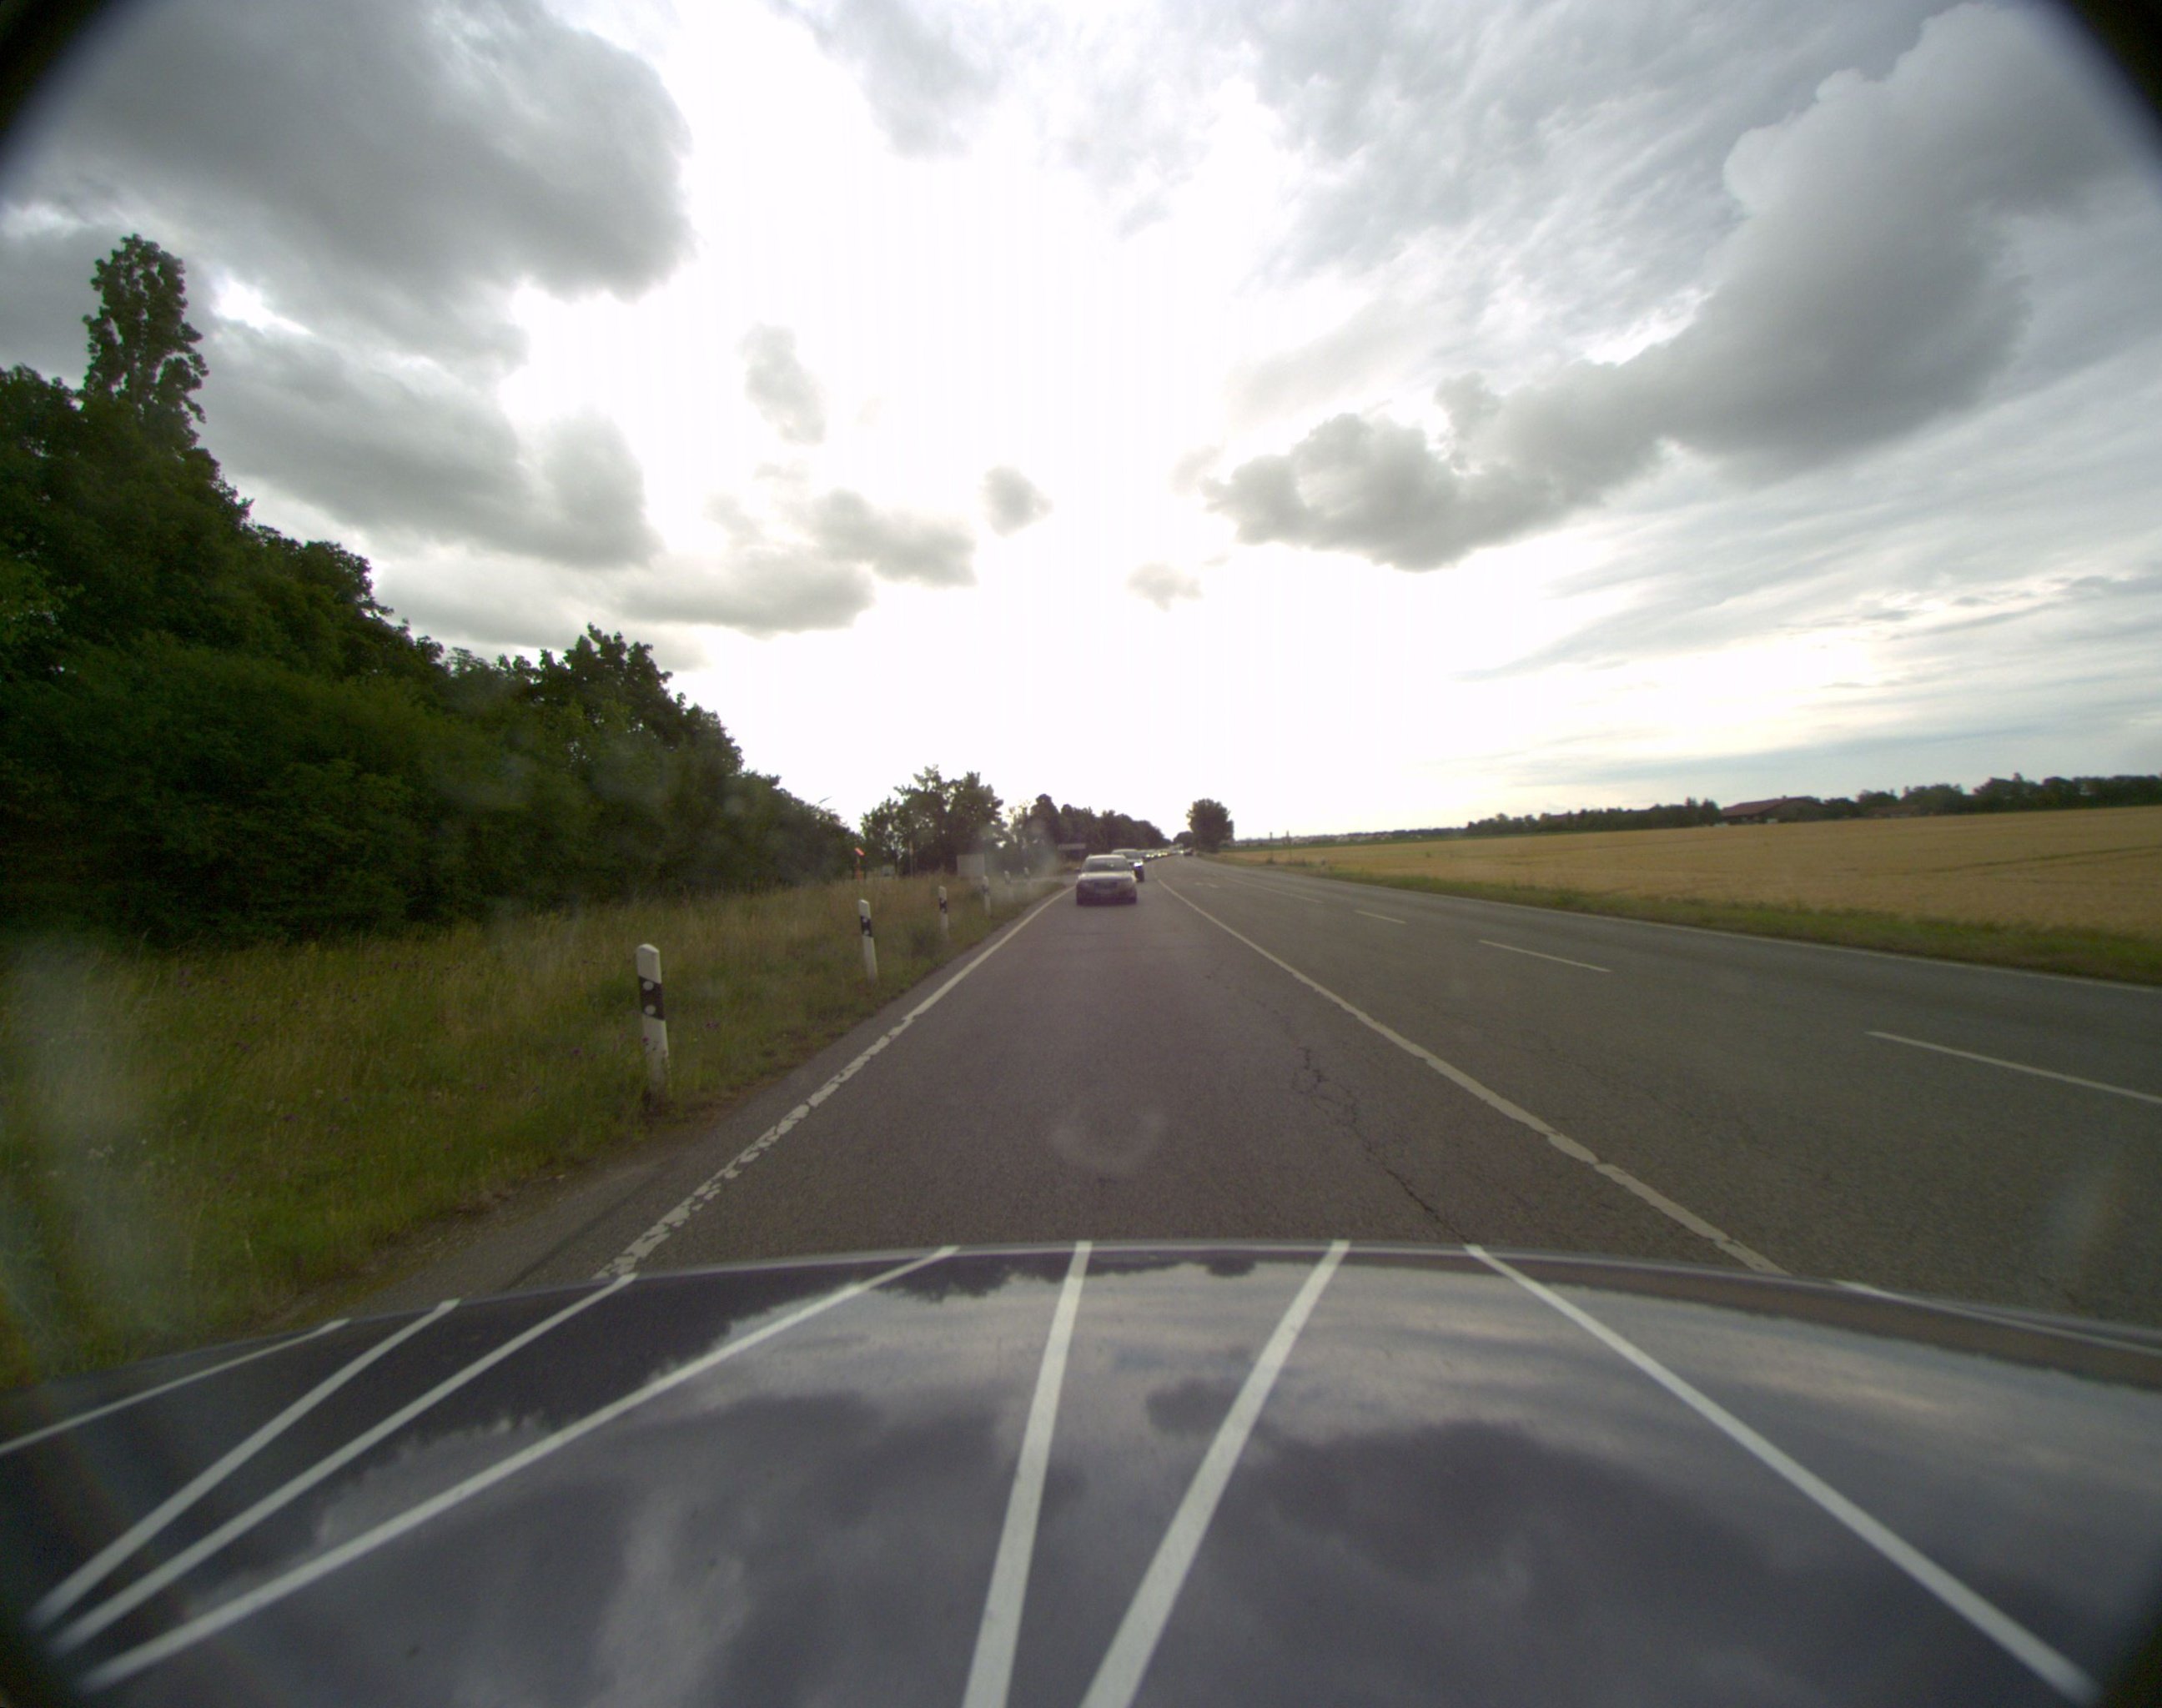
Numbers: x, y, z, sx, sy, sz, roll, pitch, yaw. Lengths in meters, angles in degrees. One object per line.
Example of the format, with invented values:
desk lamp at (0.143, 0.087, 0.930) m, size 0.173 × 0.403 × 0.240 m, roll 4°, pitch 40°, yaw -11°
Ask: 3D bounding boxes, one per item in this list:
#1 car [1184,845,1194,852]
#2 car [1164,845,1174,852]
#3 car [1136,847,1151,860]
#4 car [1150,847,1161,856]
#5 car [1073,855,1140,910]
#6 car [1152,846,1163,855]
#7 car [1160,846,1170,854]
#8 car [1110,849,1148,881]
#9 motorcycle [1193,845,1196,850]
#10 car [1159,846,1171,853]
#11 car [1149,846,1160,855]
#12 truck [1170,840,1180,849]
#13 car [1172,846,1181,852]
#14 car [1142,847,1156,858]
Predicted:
car at (23.582, -1.302, 166.347) m, size 1.830 × 1.402 × 4.427 m, roll -3°, pitch 0°, yaw 11°
car at (20.791, -1.233, 178.856) m, size 1.792 × 1.573 × 4.140 m, roll -2°, pitch 0°, yaw 13°
car at (8.406, -0.061, 102.371) m, size 1.793 × 1.573 × 4.369 m, roll -2°, pitch 0°, yaw 6°
car at (12.573, -0.440, 128.258) m, size 1.793 × 1.573 × 4.189 m, roll -2°, pitch 0°, yaw 7°
car at (0.790, 0.788, 23.160) m, size 1.793 × 1.415 × 4.368 m, roll -2°, pitch 0°, yaw 2°
car at (14.996, -0.687, 149.212) m, size 1.792 × 1.573 × 4.139 m, roll -2°, pitch 0°, yaw 9°
car at (18.007, -0.941, 162.168) m, size 1.792 × 1.573 × 4.140 m, roll -2°, pitch 0°, yaw 11°
car at (2.480, 0.533, 40.047) m, size 1.793 × 1.573 × 4.368 m, roll -2°, pitch 0°, yaw 2°
motorcycle at (30.639, -1.736, 204.816) m, size 0.727 × 1.142 × 2.026 m, roll -2°, pitch 1°, yaw 13°
car at (18.731, -1.007, 169.139) m, size 1.953 × 1.573 × 4.140 m, roll -2°, pitch 0°, yaw 13°
car at (13.458, -0.680, 138.895) m, size 1.792 × 1.573 × 4.139 m, roll -2°, pitch 0°, yaw 9°
truck at (28.075, -2.856, 226.458) m, size 2.318 × 2.749 × 7.679 m, roll -2°, pitch 1°, yaw 12°
car at (25.246, -1.389, 201.338) m, size 1.792 × 1.531 × 4.140 m, roll -2°, pitch 0°, yaw 14°
car at (10.021, -0.218, 111.339) m, size 1.793 × 1.573 × 4.189 m, roll -2°, pitch 0°, yaw 7°
